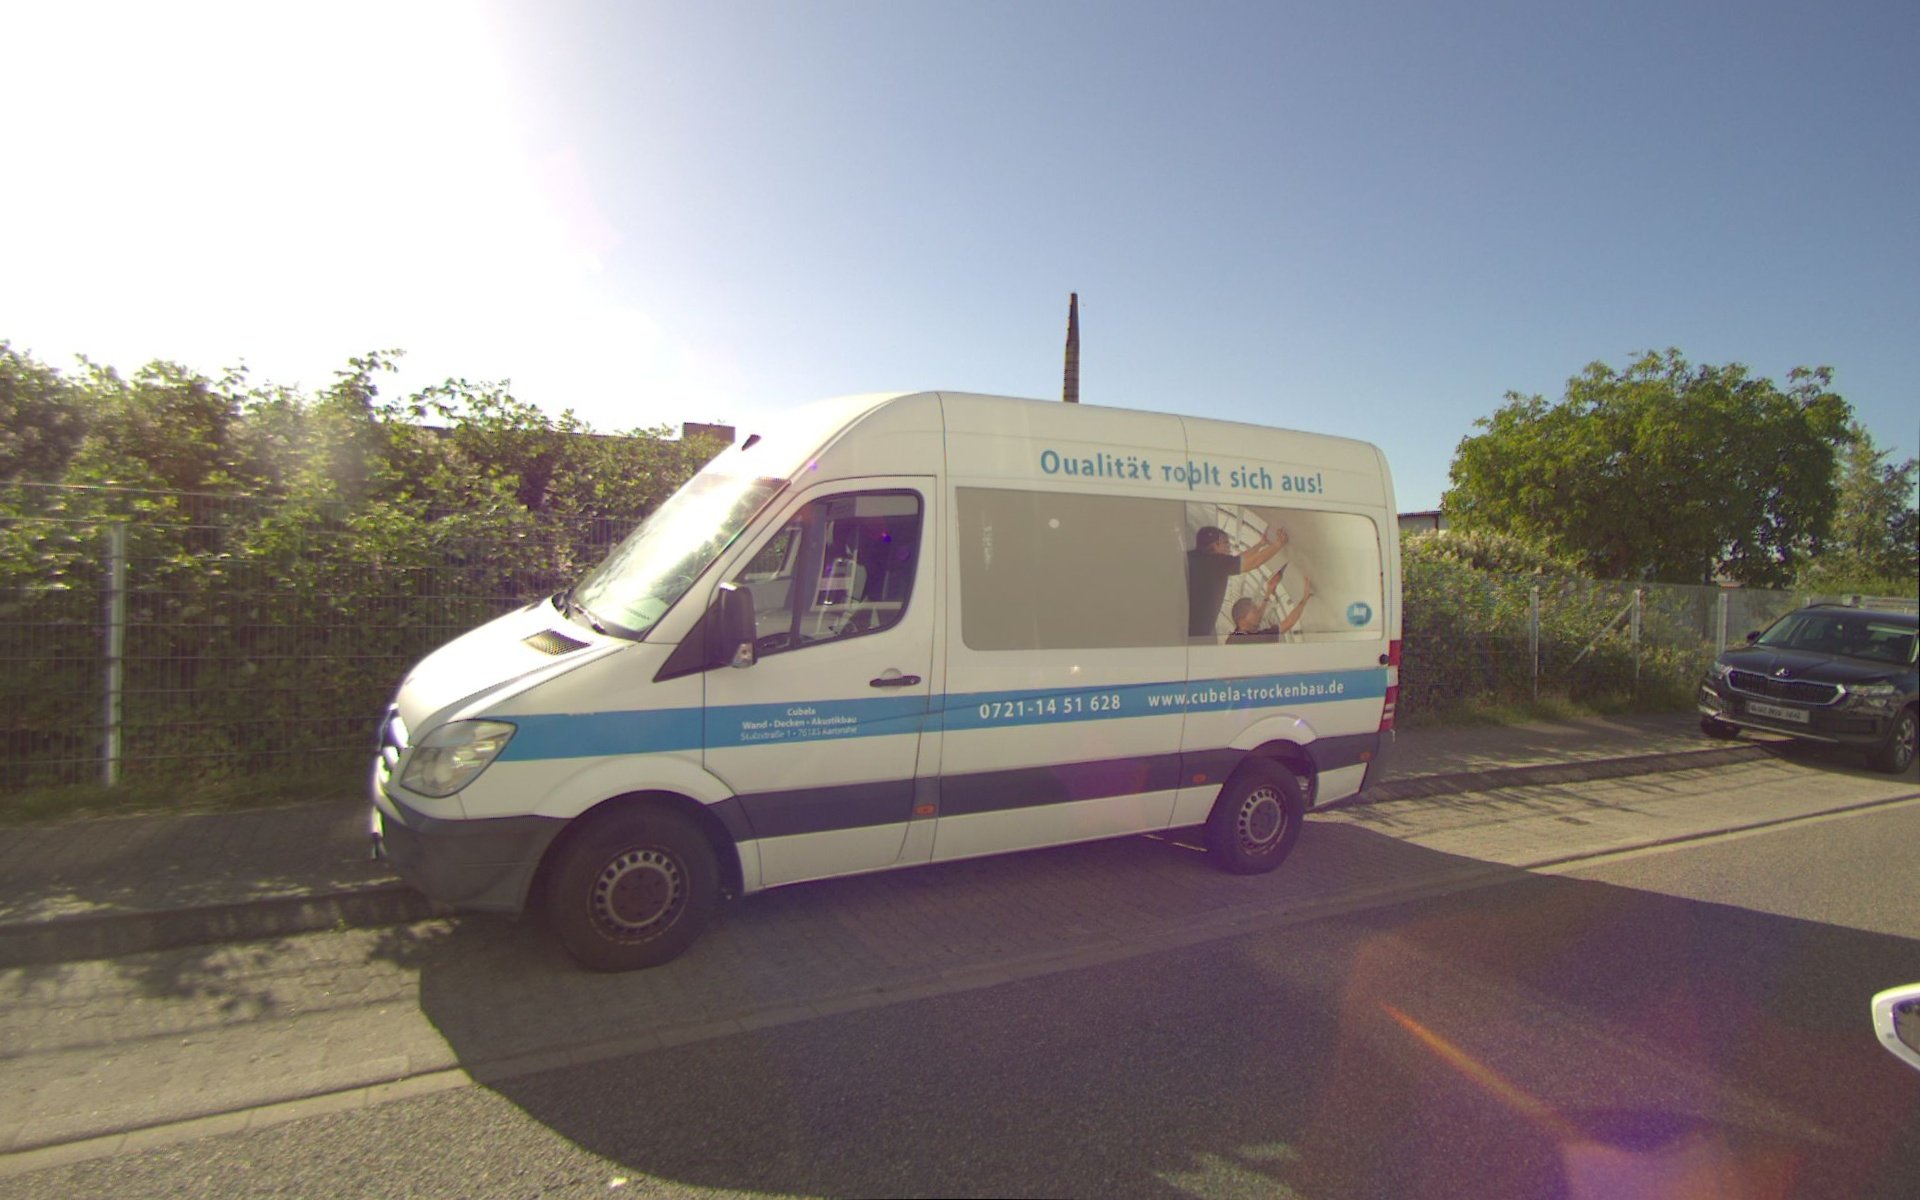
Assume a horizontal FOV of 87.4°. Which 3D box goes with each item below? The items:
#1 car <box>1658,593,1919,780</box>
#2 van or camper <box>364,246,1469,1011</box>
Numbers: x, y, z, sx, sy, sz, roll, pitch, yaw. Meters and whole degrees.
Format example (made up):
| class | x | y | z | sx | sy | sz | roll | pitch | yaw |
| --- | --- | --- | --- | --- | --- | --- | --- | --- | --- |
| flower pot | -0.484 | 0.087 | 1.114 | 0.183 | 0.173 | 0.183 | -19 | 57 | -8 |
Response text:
| class | x | y | z | sx | sy | sz | roll | pitch | yaw |
| --- | --- | --- | --- | --- | --- | --- | --- | --- | --- |
| car | 10.936 | 0.913 | 12.245 | 5.049 | 1.717 | 2.019 | 1 | 5 | -31 |
| van or camper | 0.046 | 0.096 | 5.810 | 5.873 | 2.722 | 1.957 | 1 | 6 | -28 |
